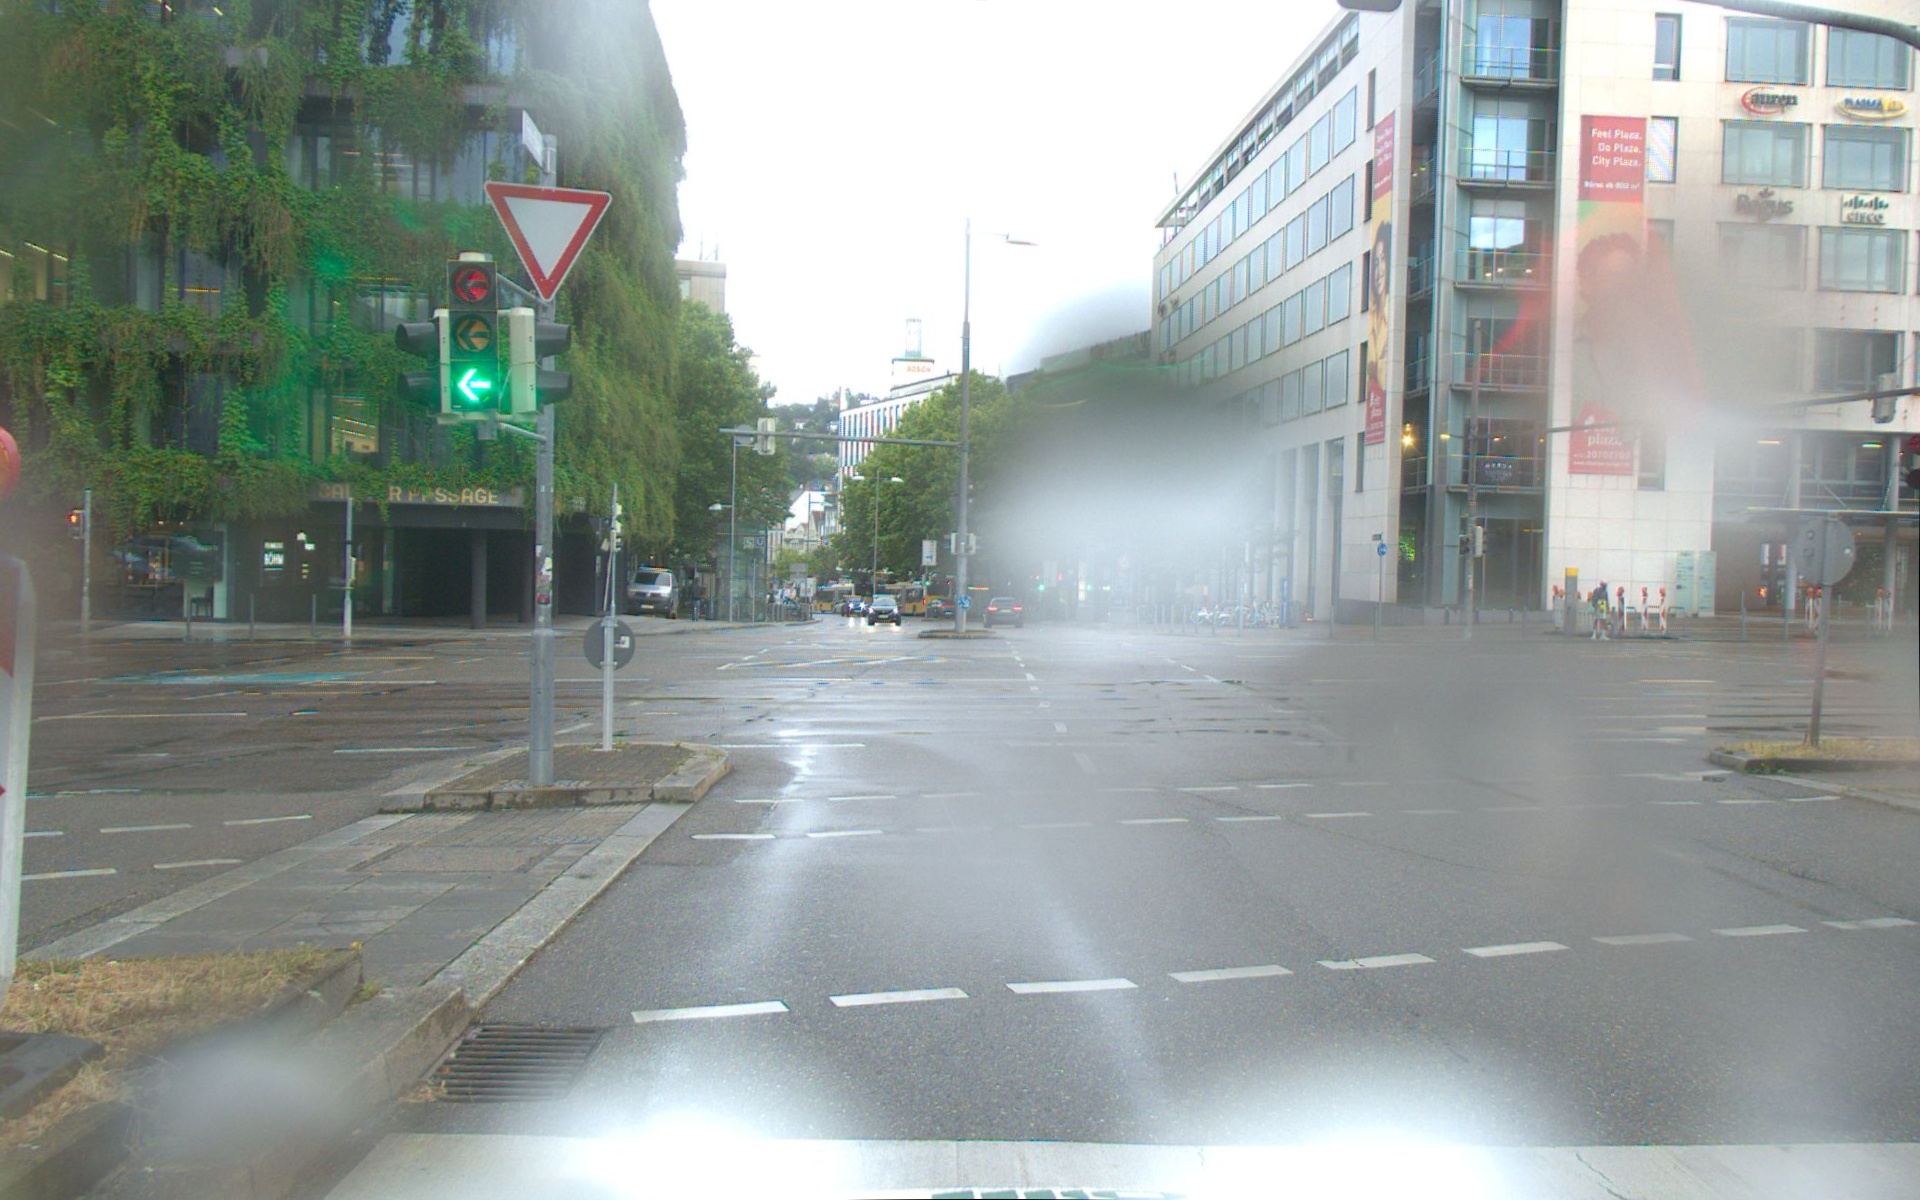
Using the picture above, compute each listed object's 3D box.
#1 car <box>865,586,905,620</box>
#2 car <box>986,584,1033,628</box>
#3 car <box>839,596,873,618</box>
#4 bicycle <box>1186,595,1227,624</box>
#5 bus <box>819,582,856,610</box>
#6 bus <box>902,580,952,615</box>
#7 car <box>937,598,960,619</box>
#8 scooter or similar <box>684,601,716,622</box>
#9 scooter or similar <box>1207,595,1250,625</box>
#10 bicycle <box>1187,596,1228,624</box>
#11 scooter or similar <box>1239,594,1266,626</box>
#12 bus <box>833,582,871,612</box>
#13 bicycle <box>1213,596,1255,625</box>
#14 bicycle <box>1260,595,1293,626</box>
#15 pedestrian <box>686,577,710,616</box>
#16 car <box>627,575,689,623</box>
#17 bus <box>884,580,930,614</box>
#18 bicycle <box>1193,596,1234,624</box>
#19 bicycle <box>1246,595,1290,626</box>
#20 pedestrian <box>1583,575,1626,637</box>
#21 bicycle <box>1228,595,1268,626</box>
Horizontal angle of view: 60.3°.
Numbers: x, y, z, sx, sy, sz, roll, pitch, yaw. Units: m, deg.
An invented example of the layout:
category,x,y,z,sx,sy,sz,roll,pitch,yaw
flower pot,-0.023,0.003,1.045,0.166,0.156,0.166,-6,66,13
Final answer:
category,x,y,z,sx,sy,sz,roll,pitch,yaw
car,-4.153,0.191,91.194,2.121,1.796,5.108,1,0,-4
car,2.406,0.298,79.805,1.511,2.049,4.672,1,0,11
car,-8.656,0.594,137.262,2.126,1.796,5.096,1,0,-12
bicycle,10.858,0.425,72.924,1.741,1.215,0.586,1,-1,1
bus,-13.344,-0.448,180.124,2.585,3.048,7.417,0,0,-16
bus,-2.974,-0.230,145.891,2.585,3.048,7.417,0,0,-16
car,-0.920,0.663,127.594,1.745,1.534,3.999,1,0,-1
scooter or similar,-12.939,0.546,82.334,0.612,1.022,1.653,1,0,37
scooter or similar,11.543,0.430,71.143,1.741,1.215,0.586,1,-1,1
bicycle,11.001,0.431,73.561,1.741,1.215,0.586,1,-1,1
scooter or similar,11.381,0.398,64.317,0.946,1.215,0.453,1,-1,40
bus,-11.347,-0.356,173.057,2.585,3.048,7.296,0,0,-16
bicycle,11.888,0.438,71.771,1.741,1.215,0.586,1,-1,1
bicycle,12.855,0.436,67.134,0.575,1.215,1.776,1,-1,37
pedestrian,-11.441,-0.150,72.352,0.915,1.673,0.774,1,-1,-1
car,-12.393,-0.038,68.133,1.832,1.871,3.999,1,0,-1
bus,-4.971,-0.276,153.008,2.585,3.048,7.417,0,0,-16
bicycle,11.418,0.442,74.485,1.741,1.215,0.586,1,-1,1
bicycle,12.118,0.414,65.013,1.590,1.215,0.586,1,-1,25
pedestrian,19.493,0.189,50.013,0.942,1.848,0.836,1,-1,-1
bicycle,11.580,0.411,66.557,0.578,1.215,1.766,1,0,-28
